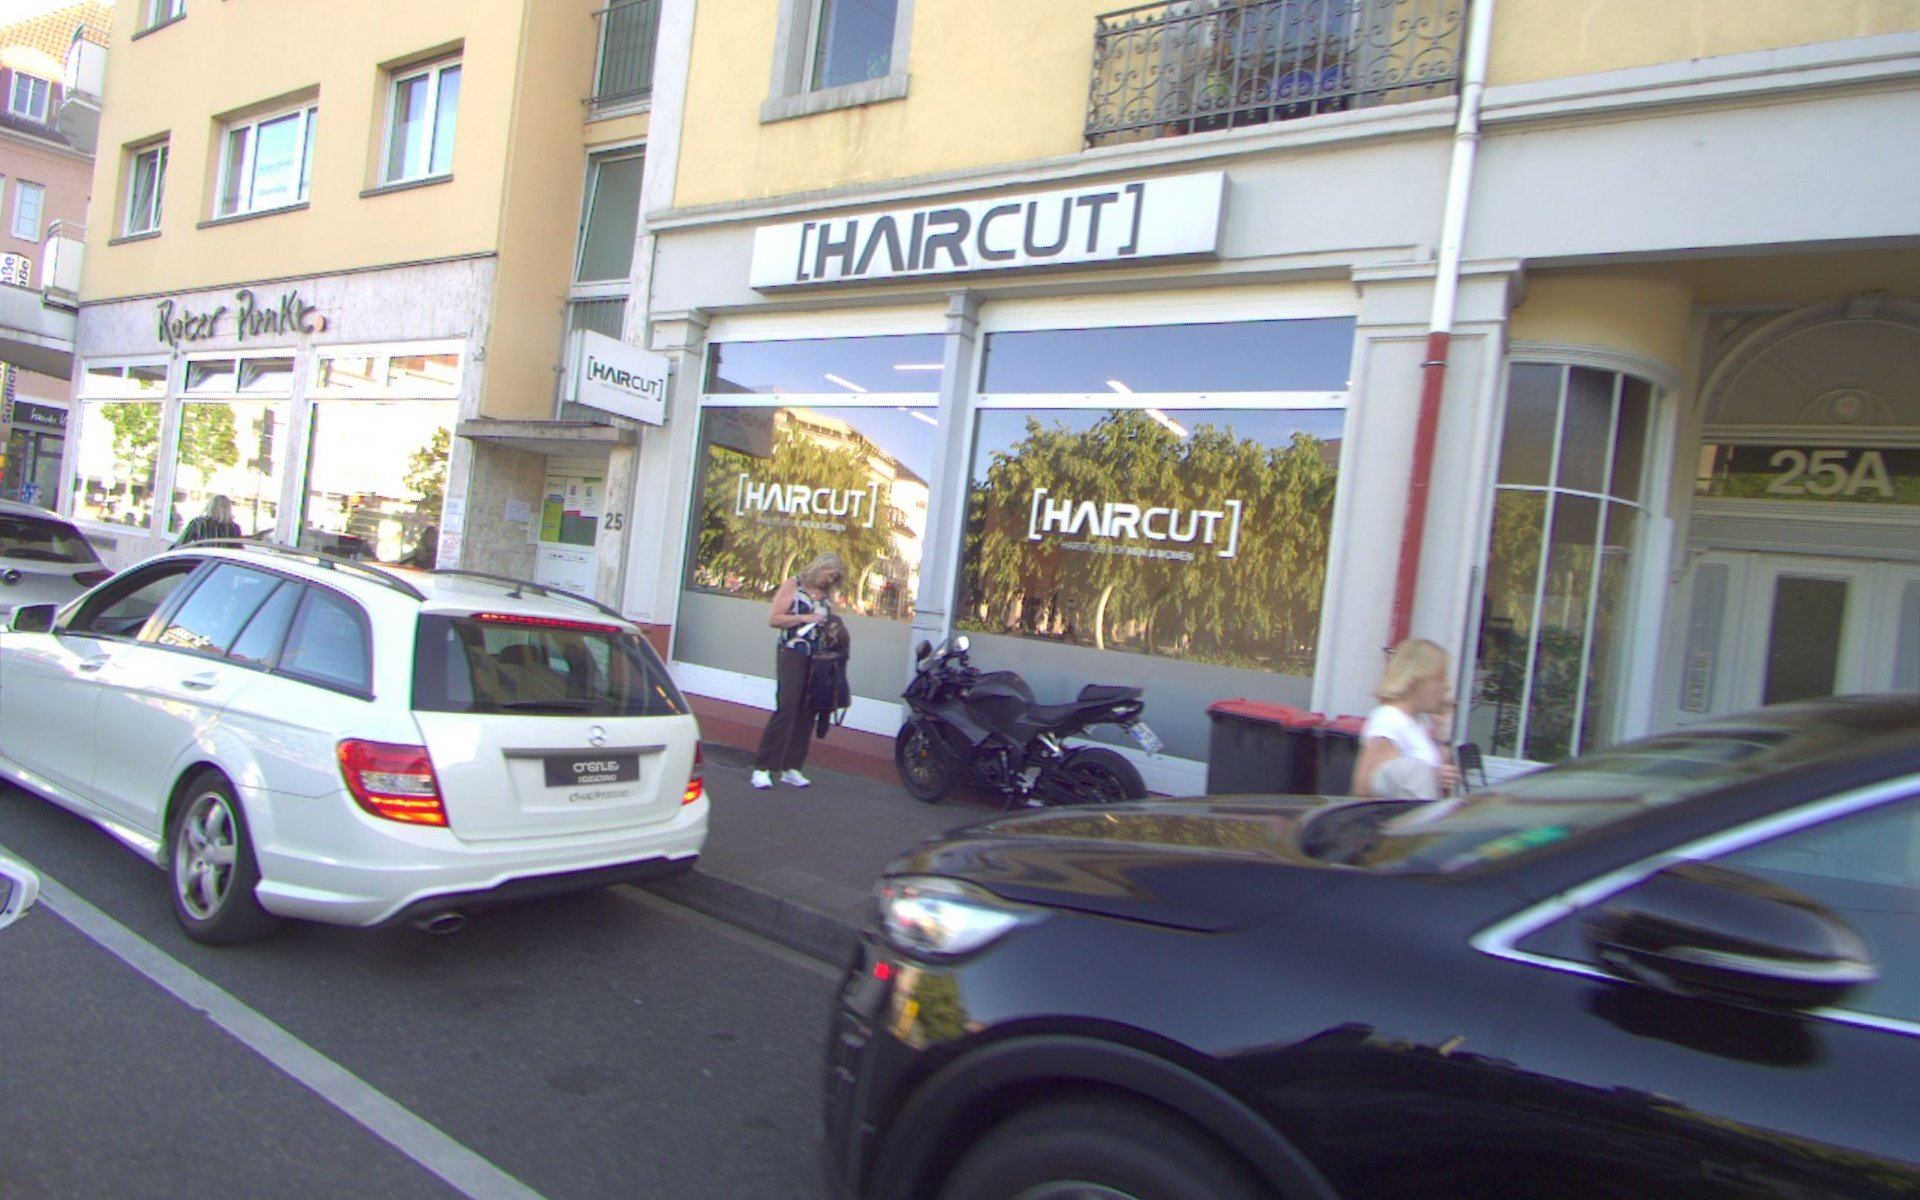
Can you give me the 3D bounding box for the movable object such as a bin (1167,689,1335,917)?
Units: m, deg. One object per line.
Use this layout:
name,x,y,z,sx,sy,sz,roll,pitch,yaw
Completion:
movable object such as a bin,1.604,1.067,5.527,0.609,1.055,0.659,7,3,34

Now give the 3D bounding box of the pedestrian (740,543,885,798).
pedestrian,-1.025,0.478,7.065,0.523,1.653,0.697,7,1,30

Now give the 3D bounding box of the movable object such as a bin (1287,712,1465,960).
movable object such as a bin,2.132,1.153,5.140,0.609,1.038,0.667,7,3,34

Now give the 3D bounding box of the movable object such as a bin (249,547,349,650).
movable object such as a bin,-7.481,-0.009,11.396,0.609,1.082,0.703,7,3,31

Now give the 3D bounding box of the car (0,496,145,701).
car,-8.521,-0.214,8.113,4.009,1.444,1.673,7,-1,31

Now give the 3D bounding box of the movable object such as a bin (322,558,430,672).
movable object such as a bin,-6.024,0.157,10.393,0.609,1.082,0.703,7,3,31

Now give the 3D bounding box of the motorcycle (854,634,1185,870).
motorcycle,0.335,0.895,6.434,1.975,1.105,0.550,7,1,31

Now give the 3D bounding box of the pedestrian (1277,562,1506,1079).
pedestrian,1.603,0.787,3.793,0.473,1.783,0.435,7,-1,2

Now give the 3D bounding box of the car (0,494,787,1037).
car,-3.165,0.430,4.888,4.389,1.464,1.741,7,-1,31

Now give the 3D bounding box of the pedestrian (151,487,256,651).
pedestrian,-8.058,-0.322,10.724,0.618,1.654,0.661,7,2,36

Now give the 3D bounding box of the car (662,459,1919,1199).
car,1.845,0.905,1.740,4.493,1.757,1.759,7,-1,28
